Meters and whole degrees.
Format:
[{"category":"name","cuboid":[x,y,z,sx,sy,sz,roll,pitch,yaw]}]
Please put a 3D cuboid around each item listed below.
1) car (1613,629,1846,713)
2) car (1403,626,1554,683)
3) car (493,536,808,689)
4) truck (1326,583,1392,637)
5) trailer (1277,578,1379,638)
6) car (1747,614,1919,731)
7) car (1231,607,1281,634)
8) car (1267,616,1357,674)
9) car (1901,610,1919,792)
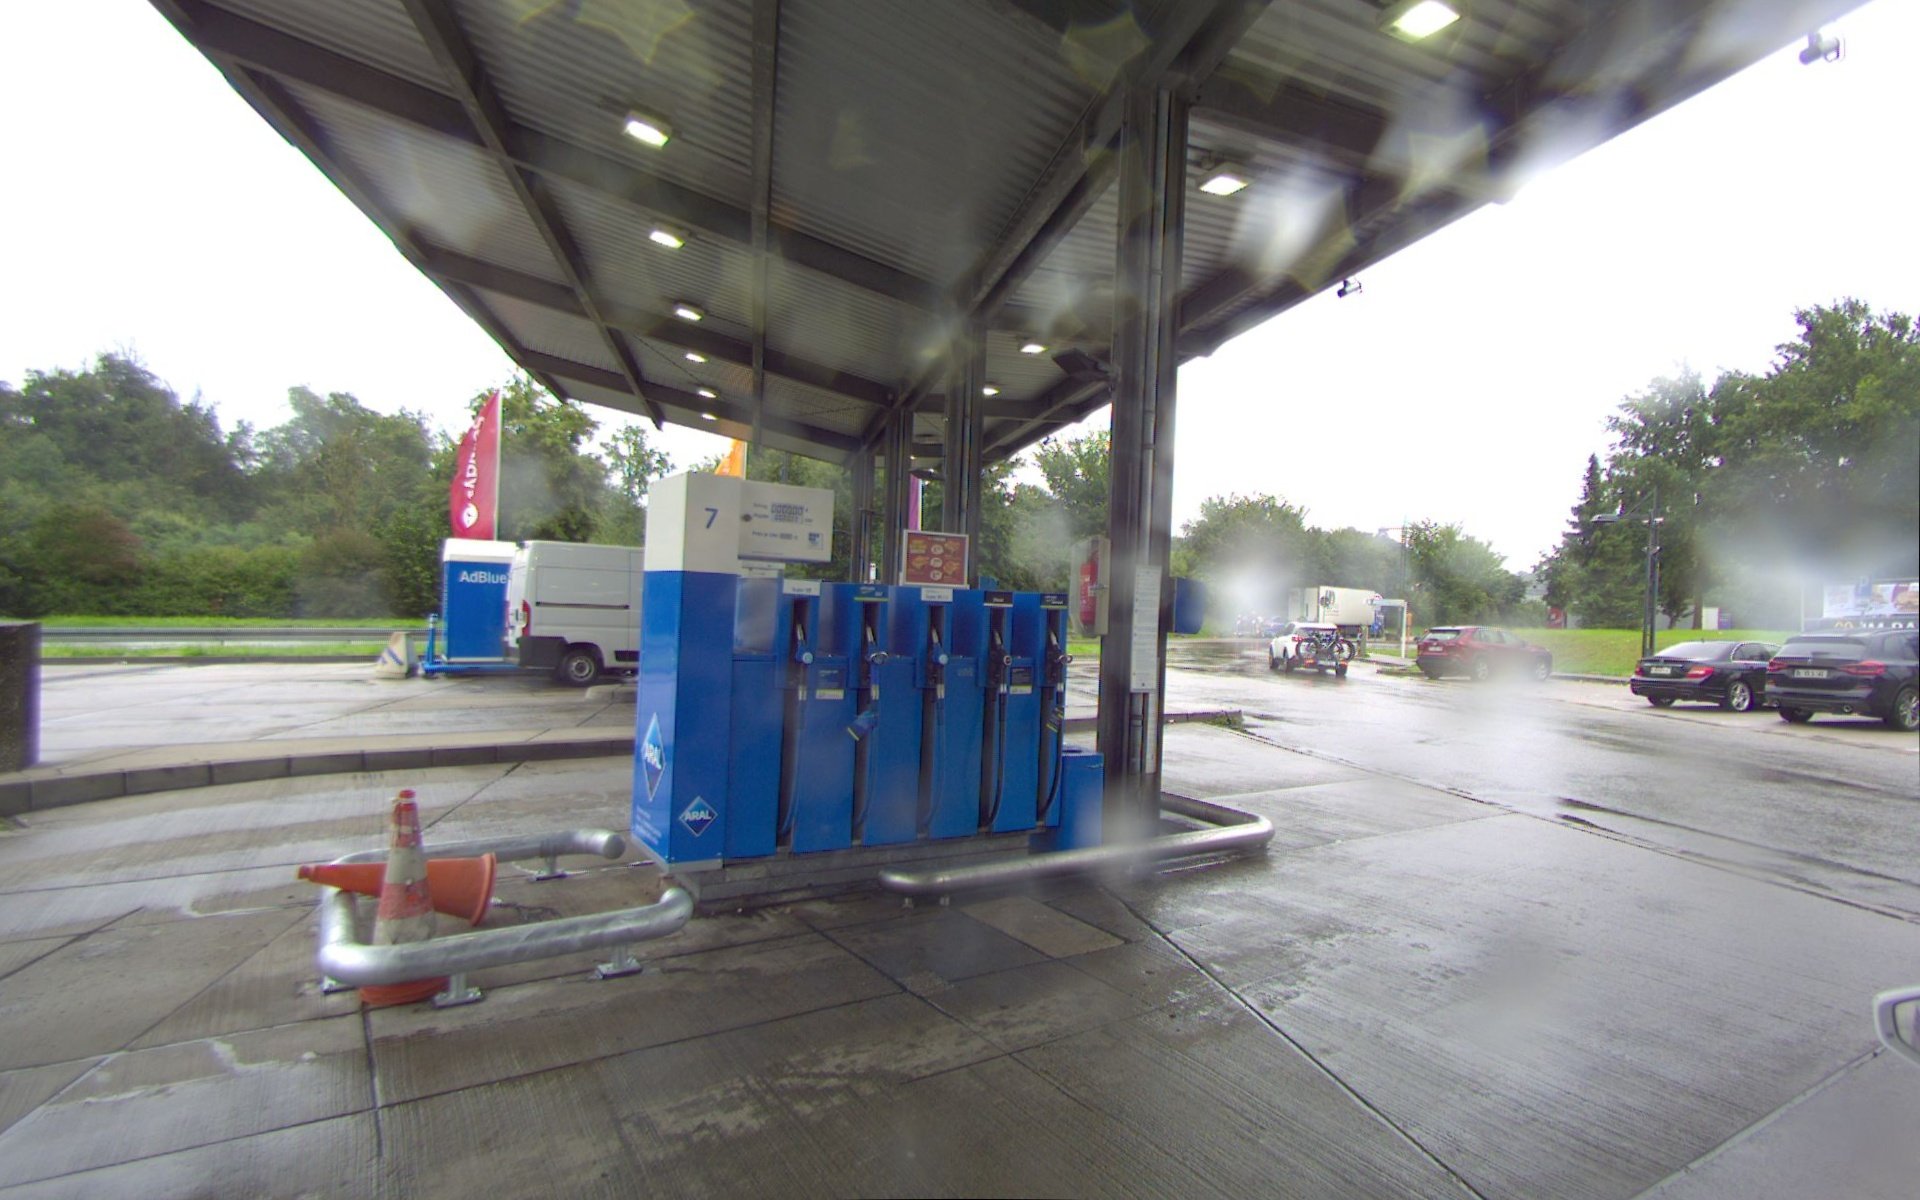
[{"category":"car","cuboid":[15.931,1.422,20.830,4.119,1.585,1.883,1,-1,-19]},{"category":"car","cuboid":[15.995,1.651,30.976,4.294,1.617,1.879,1,-1,-24]},{"category":"car","cuboid":[-5.749,0.272,18.916,5.227,2.496,2.306,1,-1,-34]},{"category":"truck","cuboid":[35.584,0.932,89.464,3.416,4.618,6.704,2,0,40]},{"category":"trailer","cuboid":[30.910,0.762,83.861,3.416,4.618,13.847,2,0,40]},{"category":"car","cuboid":[16.143,1.193,17.410,4.344,1.852,1.883,1,-1,-19]},{"category":"car","cuboid":[20.890,1.434,70.815,1.903,1.862,4.373,1,0,38]},{"category":"car","cuboid":[10.904,1.341,31.482,1.783,1.586,5.007,1,0,9]},{"category":"car","cuboid":[9.545,0.910,6.966,1.854,1.608,4.324,1,0,-3]}]
